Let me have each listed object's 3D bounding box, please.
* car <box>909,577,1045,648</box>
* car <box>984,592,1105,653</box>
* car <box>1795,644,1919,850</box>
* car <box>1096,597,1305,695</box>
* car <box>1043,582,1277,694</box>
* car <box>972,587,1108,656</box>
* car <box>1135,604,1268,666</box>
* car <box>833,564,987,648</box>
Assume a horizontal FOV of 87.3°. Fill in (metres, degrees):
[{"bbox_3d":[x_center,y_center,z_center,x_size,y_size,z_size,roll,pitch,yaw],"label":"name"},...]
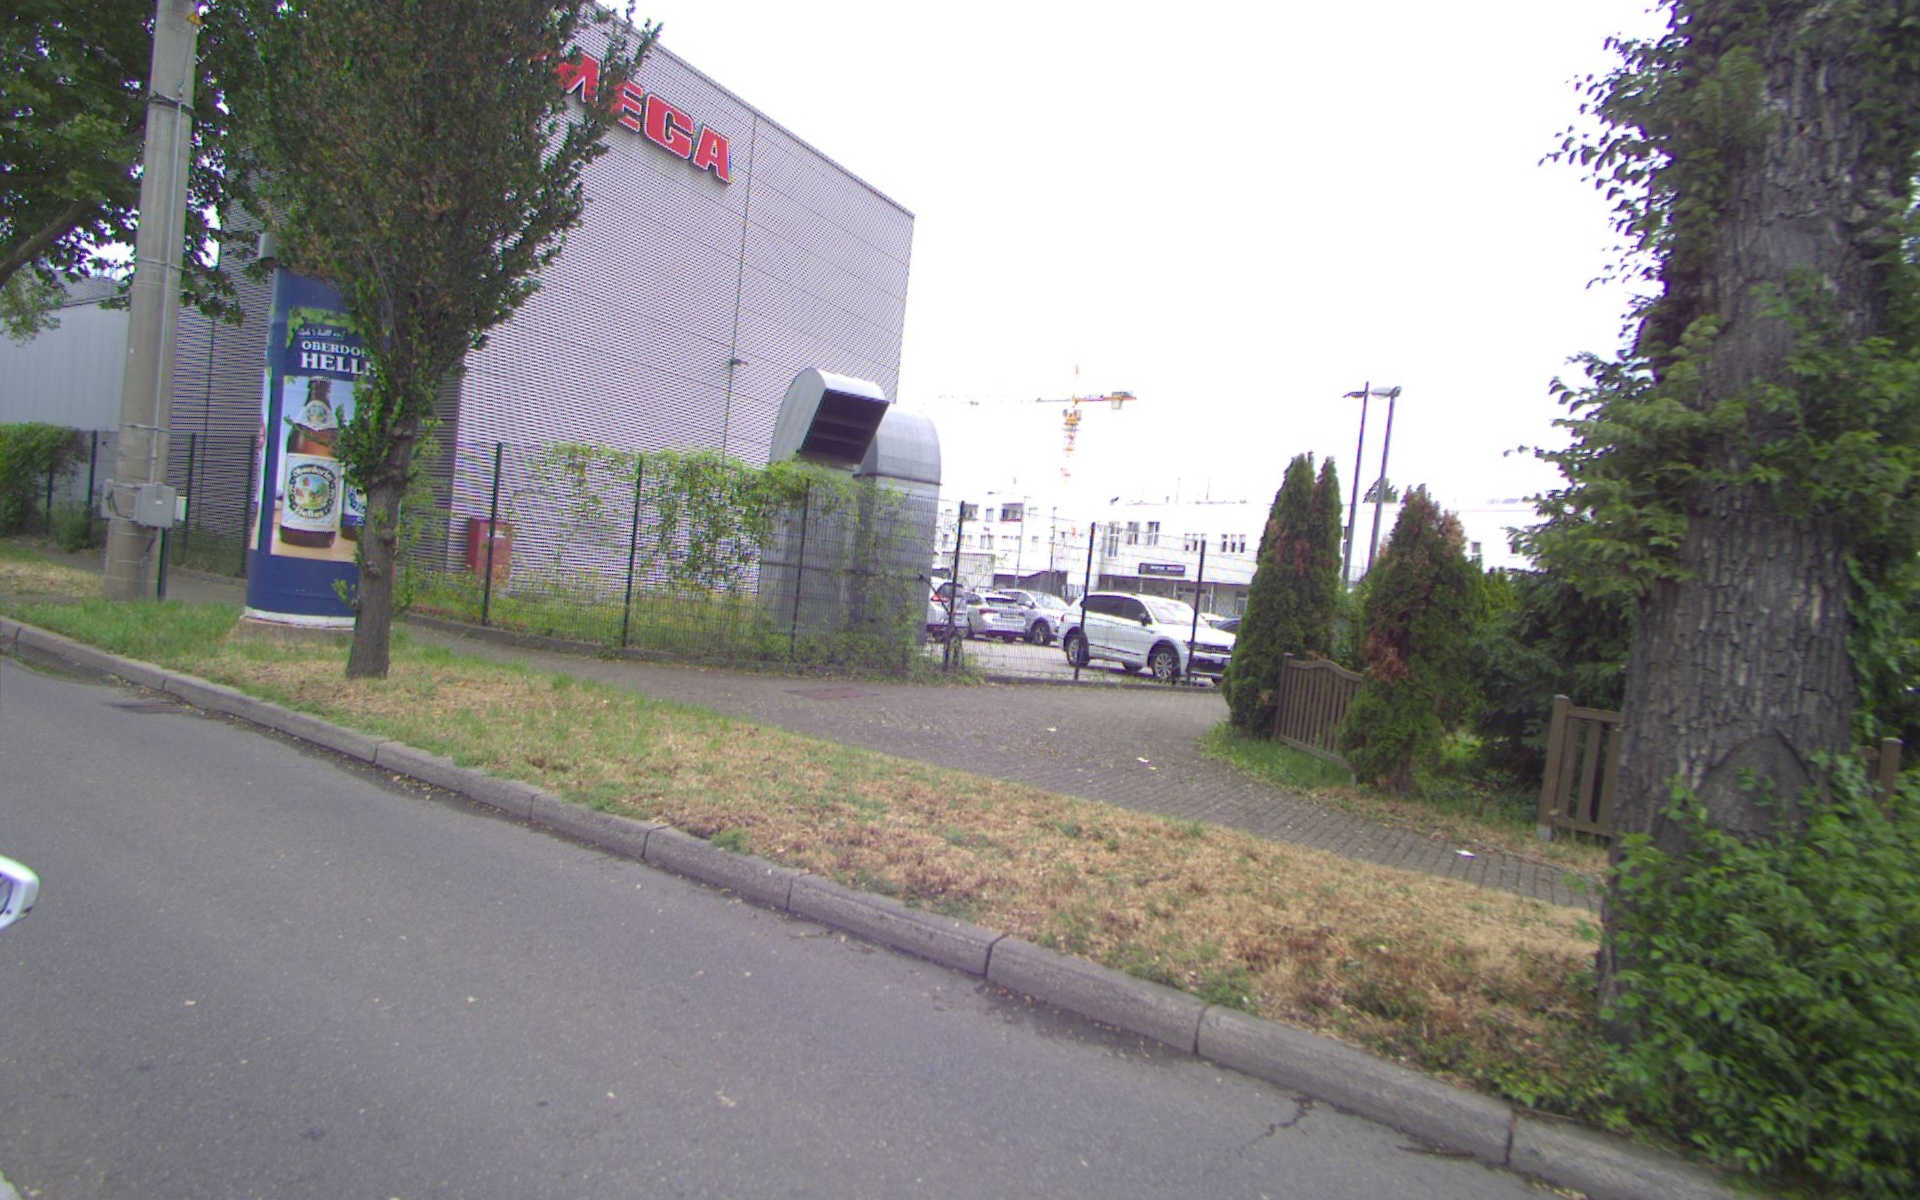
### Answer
[{"bbox_3d":[0.428,0.346,31.307,1.978,1.696,4.599,6,1,-31],"label":"car"},{"bbox_3d":[3.031,0.779,37.031,1.978,1.696,4.599,6,1,-31],"label":"car"},{"bbox_3d":[10.316,1.544,10.084,4.338,1.727,1.979,6,1,-38],"label":"car"},{"bbox_3d":[5.484,1.004,23.555,1.978,1.696,4.599,6,1,-31],"label":"car"},{"bbox_3d":[3.915,0.696,20.577,1.978,1.696,4.599,6,1,-31],"label":"car"},{"bbox_3d":[2.494,0.640,32.719,1.978,1.696,4.599,6,1,-31],"label":"car"},{"bbox_3d":[8.788,1.251,36.972,1.978,1.696,4.599,6,1,-31],"label":"car"},{"bbox_3d":[-1.428,0.100,26.520,1.978,1.696,4.599,6,1,-31],"label":"car"}]
